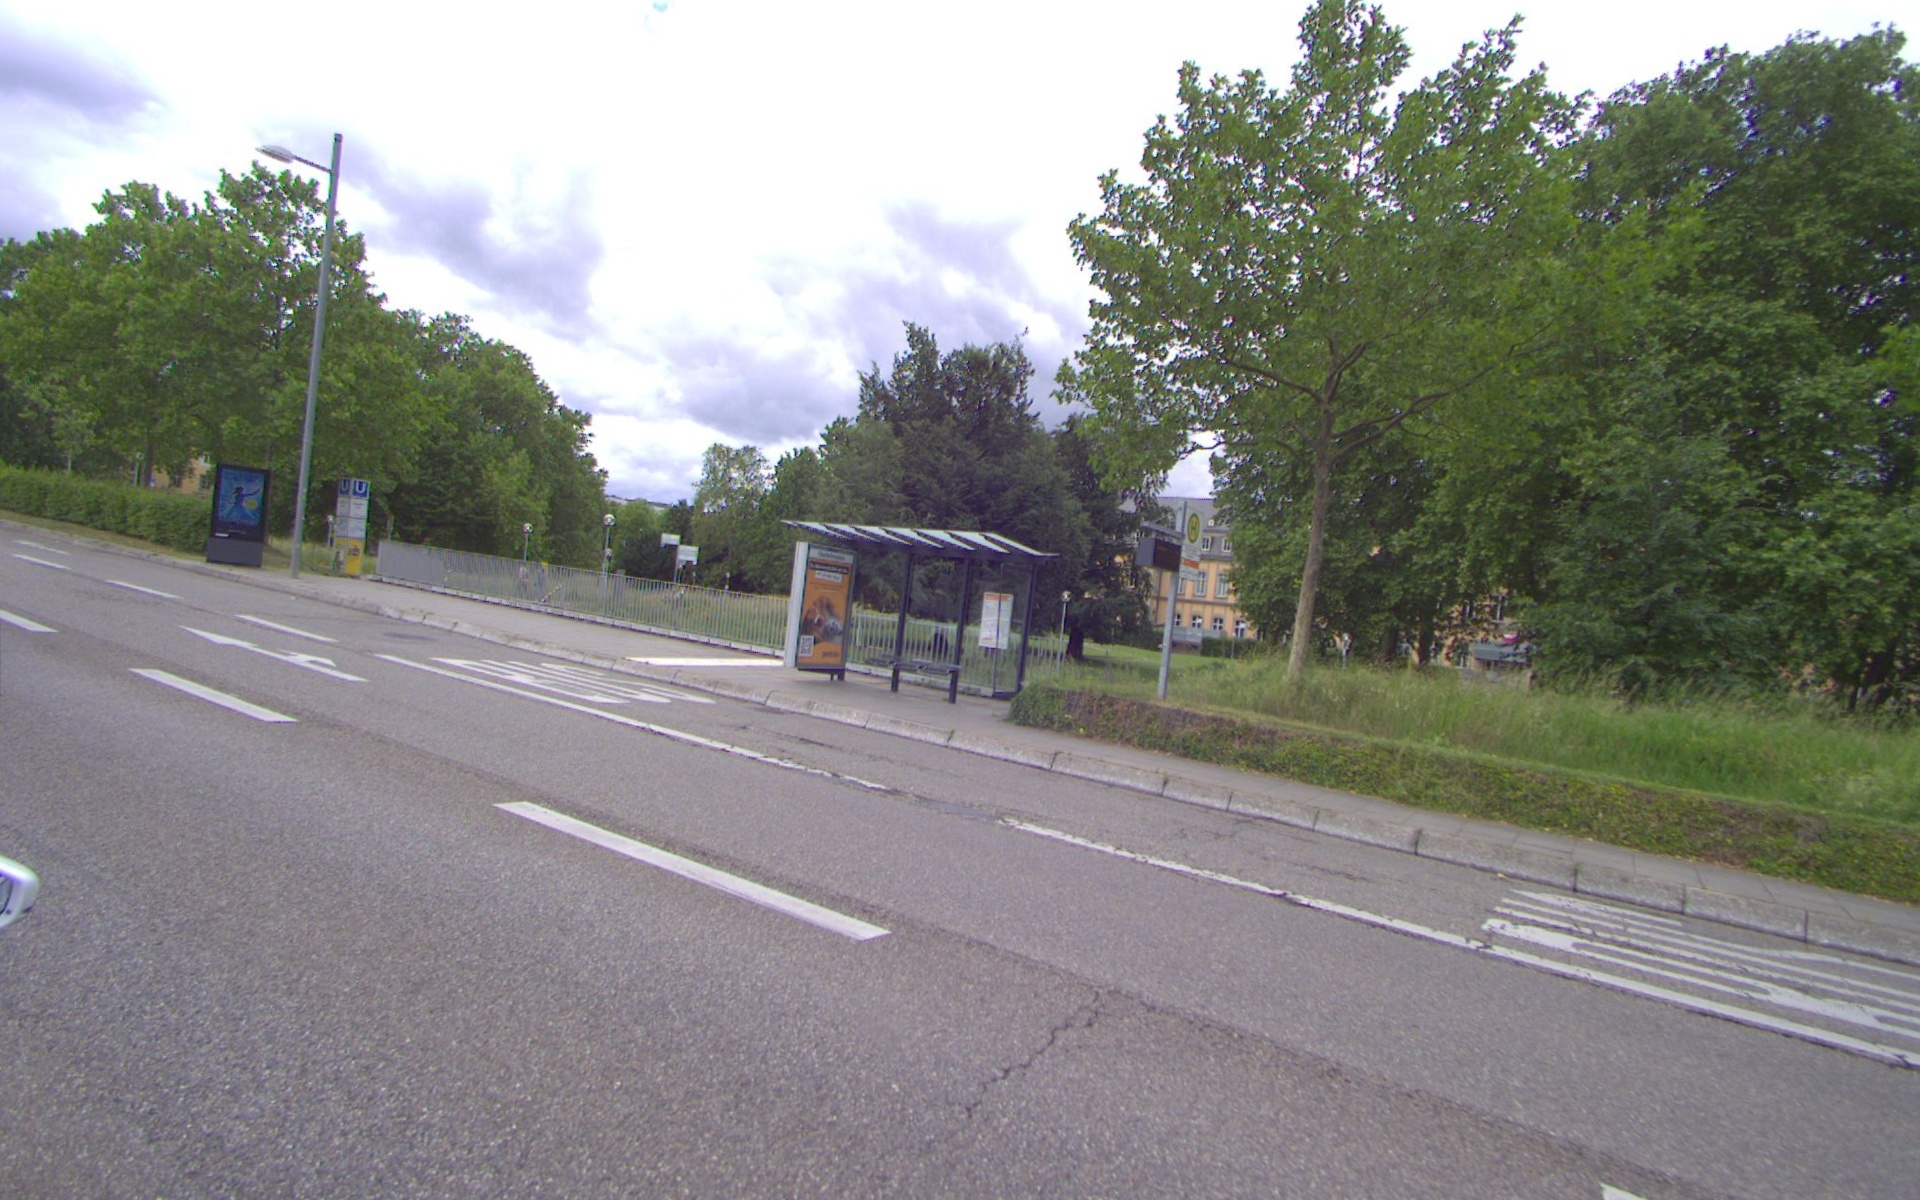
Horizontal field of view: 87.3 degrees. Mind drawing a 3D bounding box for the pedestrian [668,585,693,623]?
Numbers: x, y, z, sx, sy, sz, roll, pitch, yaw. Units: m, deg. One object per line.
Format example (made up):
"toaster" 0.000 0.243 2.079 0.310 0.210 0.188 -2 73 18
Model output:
"pedestrian" -12.777 0.200 46.047 0.674 1.619 0.655 6 -2 42
